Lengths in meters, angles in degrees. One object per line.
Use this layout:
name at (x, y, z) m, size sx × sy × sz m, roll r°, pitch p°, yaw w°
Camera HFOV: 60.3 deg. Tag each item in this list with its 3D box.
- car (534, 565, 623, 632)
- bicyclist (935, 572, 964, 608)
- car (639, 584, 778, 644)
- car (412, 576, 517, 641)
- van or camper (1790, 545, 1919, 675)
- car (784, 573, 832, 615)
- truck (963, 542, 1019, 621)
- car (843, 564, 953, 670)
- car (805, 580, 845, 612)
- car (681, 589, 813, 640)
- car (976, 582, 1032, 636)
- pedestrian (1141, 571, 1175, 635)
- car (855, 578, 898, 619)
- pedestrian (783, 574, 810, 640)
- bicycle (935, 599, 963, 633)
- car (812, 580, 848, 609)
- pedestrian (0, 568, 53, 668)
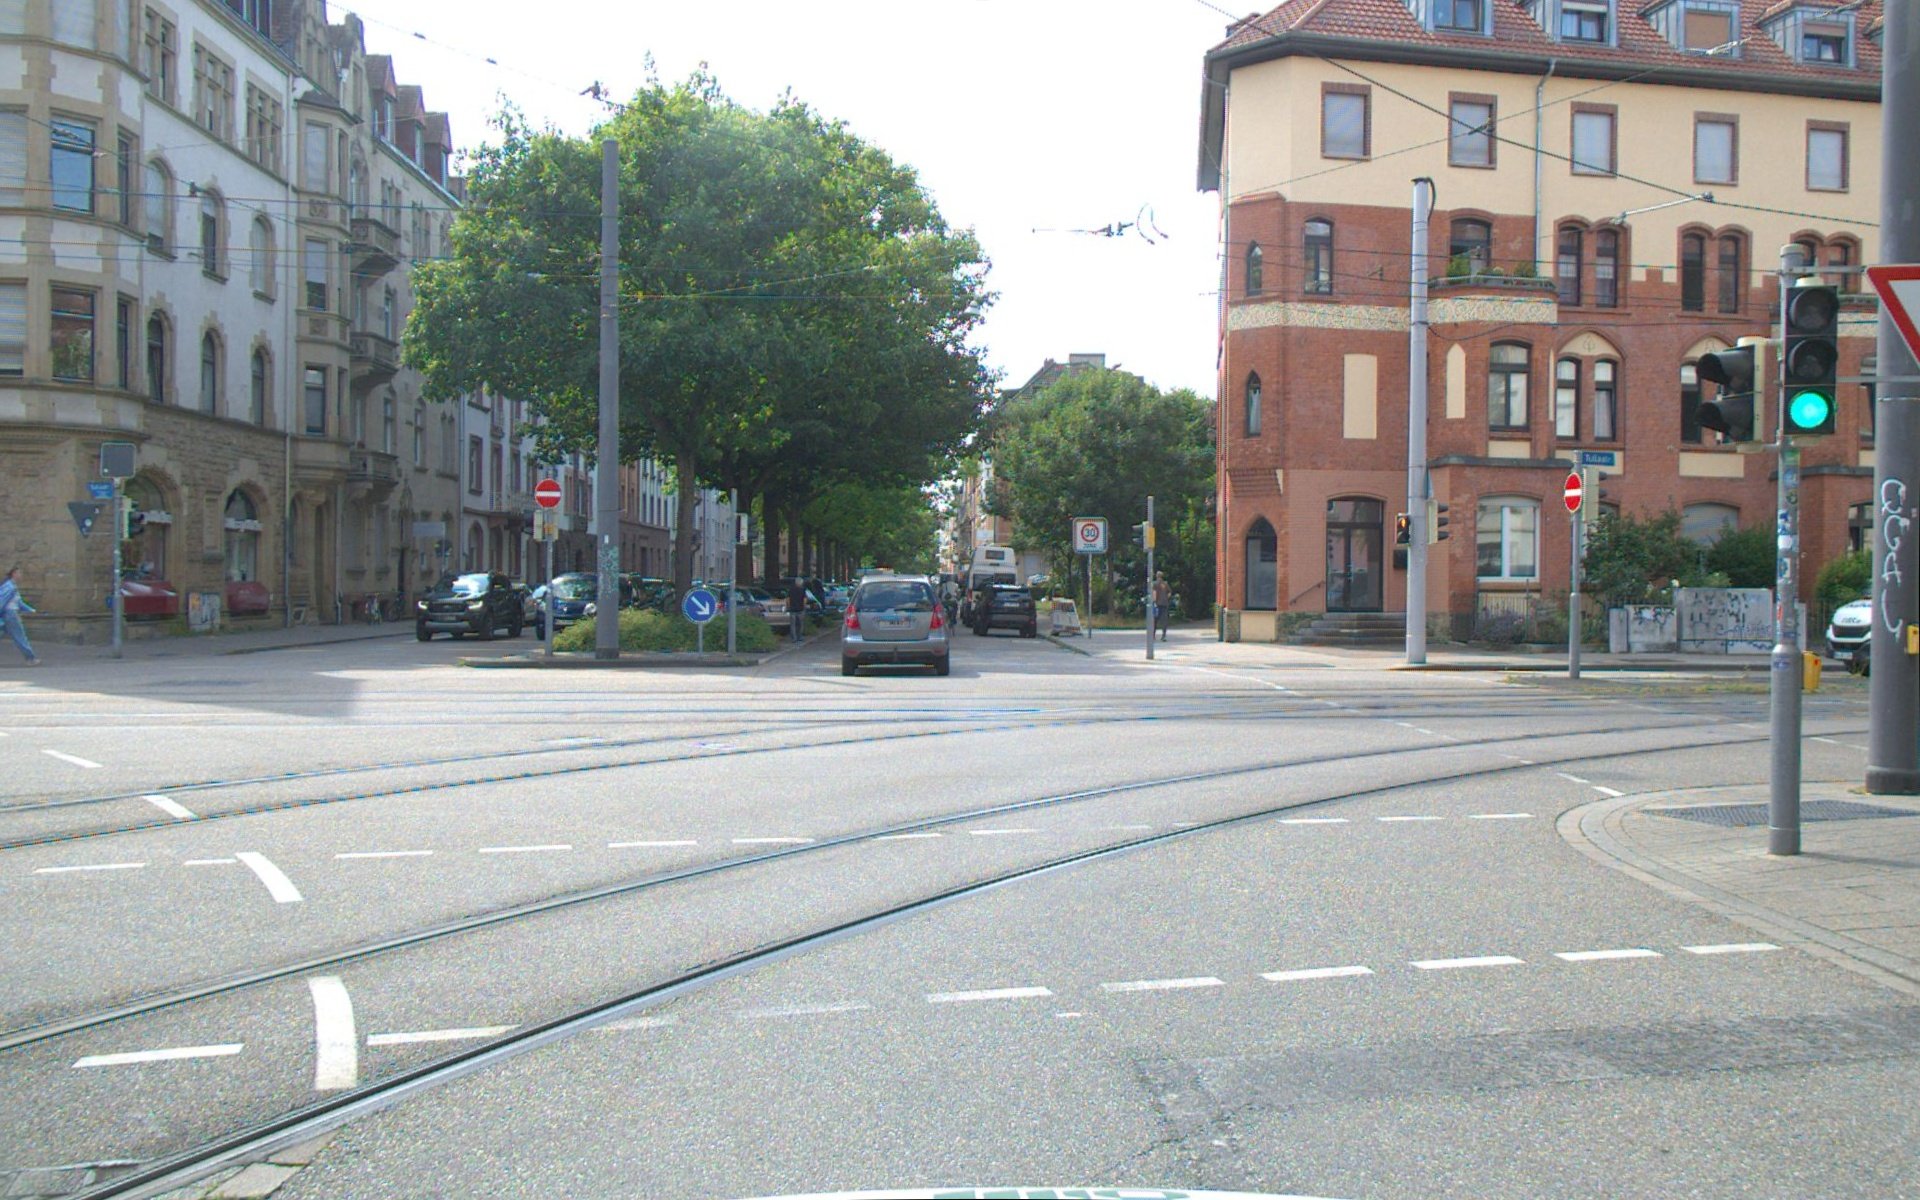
car at (-10.516, -0.066, 45.836) m, size 1.955 × 1.758 × 3.995 m, roll -1°, pitch 0°, yaw -6°
bicyclist at (-0.321, -0.312, 50.886) m, size 0.819 × 1.101 × 1.400 m, roll 0°, pitch 0°, yaw 2°
car at (-6.822, 0.329, 44.586) m, size 1.956 × 1.521 × 3.942 m, roll 0°, pitch 1°, yaw -40°
car at (-13.175, 0.206, 44.200) m, size 1.955 × 1.646 × 3.995 m, roll -1°, pitch 0°, yaw -6°
van or camper at (19.169, 0.178, 30.949) m, size 6.402 × 2.293 × 2.244 m, roll 0°, pitch 0°, yaw -9°
car at (-6.322, -0.260, 68.907) m, size 1.716 × 1.661 × 3.499 m, roll 0°, pitch 1°, yaw -1°
truck at (1.255, -0.742, 65.520) m, size 2.079 × 3.022 × 4.001 m, roll 0°, pitch 0°, yaw 2°
car at (-0.976, 0.252, 27.511) m, size 1.687 × 1.633 × 3.677 m, roll -1°, pitch 0°, yaw 0°
car at (-6.712, -0.199, 82.570) m, size 1.716 × 1.543 × 3.499 m, roll 0°, pitch 1°, yaw -1°
car at (-6.120, 0.376, 47.221) m, size 1.956 × 1.362 × 3.942 m, roll 0°, pitch 1°, yaw -40°
car at (1.443, 0.264, 52.672) m, size 1.716 × 1.661 × 3.501 m, roll 0°, pitch 1°, yaw 2°
pedestrian at (5.306, 0.079, 44.400) m, size 0.851 × 1.685 × 0.736 m, roll 0°, pitch 0°, yaw 3°
car at (-3.632, -0.100, 72.456) m, size 1.687 × 1.735 × 3.677 m, roll -1°, pitch 0°, yaw 0°
pedestrian at (-4.434, 0.186, 44.868) m, size 0.638 × 1.755 × 0.495 m, roll 0°, pitch 0°, yaw 2°
bicycle at (-0.318, 0.476, 50.768) m, size 0.733 × 0.975 × 2.299 m, roll 0°, pitch 0°, yaw 2°
car at (-7.020, -0.294, 89.587) m, size 1.716 × 1.543 × 3.499 m, roll 0°, pitch 1°, yaw -1°
pedestrian at (-16.925, 0.308, 29.638) m, size 0.763 × 1.752 × 1.017 m, roll 1°, pitch 0°, yaw 44°
